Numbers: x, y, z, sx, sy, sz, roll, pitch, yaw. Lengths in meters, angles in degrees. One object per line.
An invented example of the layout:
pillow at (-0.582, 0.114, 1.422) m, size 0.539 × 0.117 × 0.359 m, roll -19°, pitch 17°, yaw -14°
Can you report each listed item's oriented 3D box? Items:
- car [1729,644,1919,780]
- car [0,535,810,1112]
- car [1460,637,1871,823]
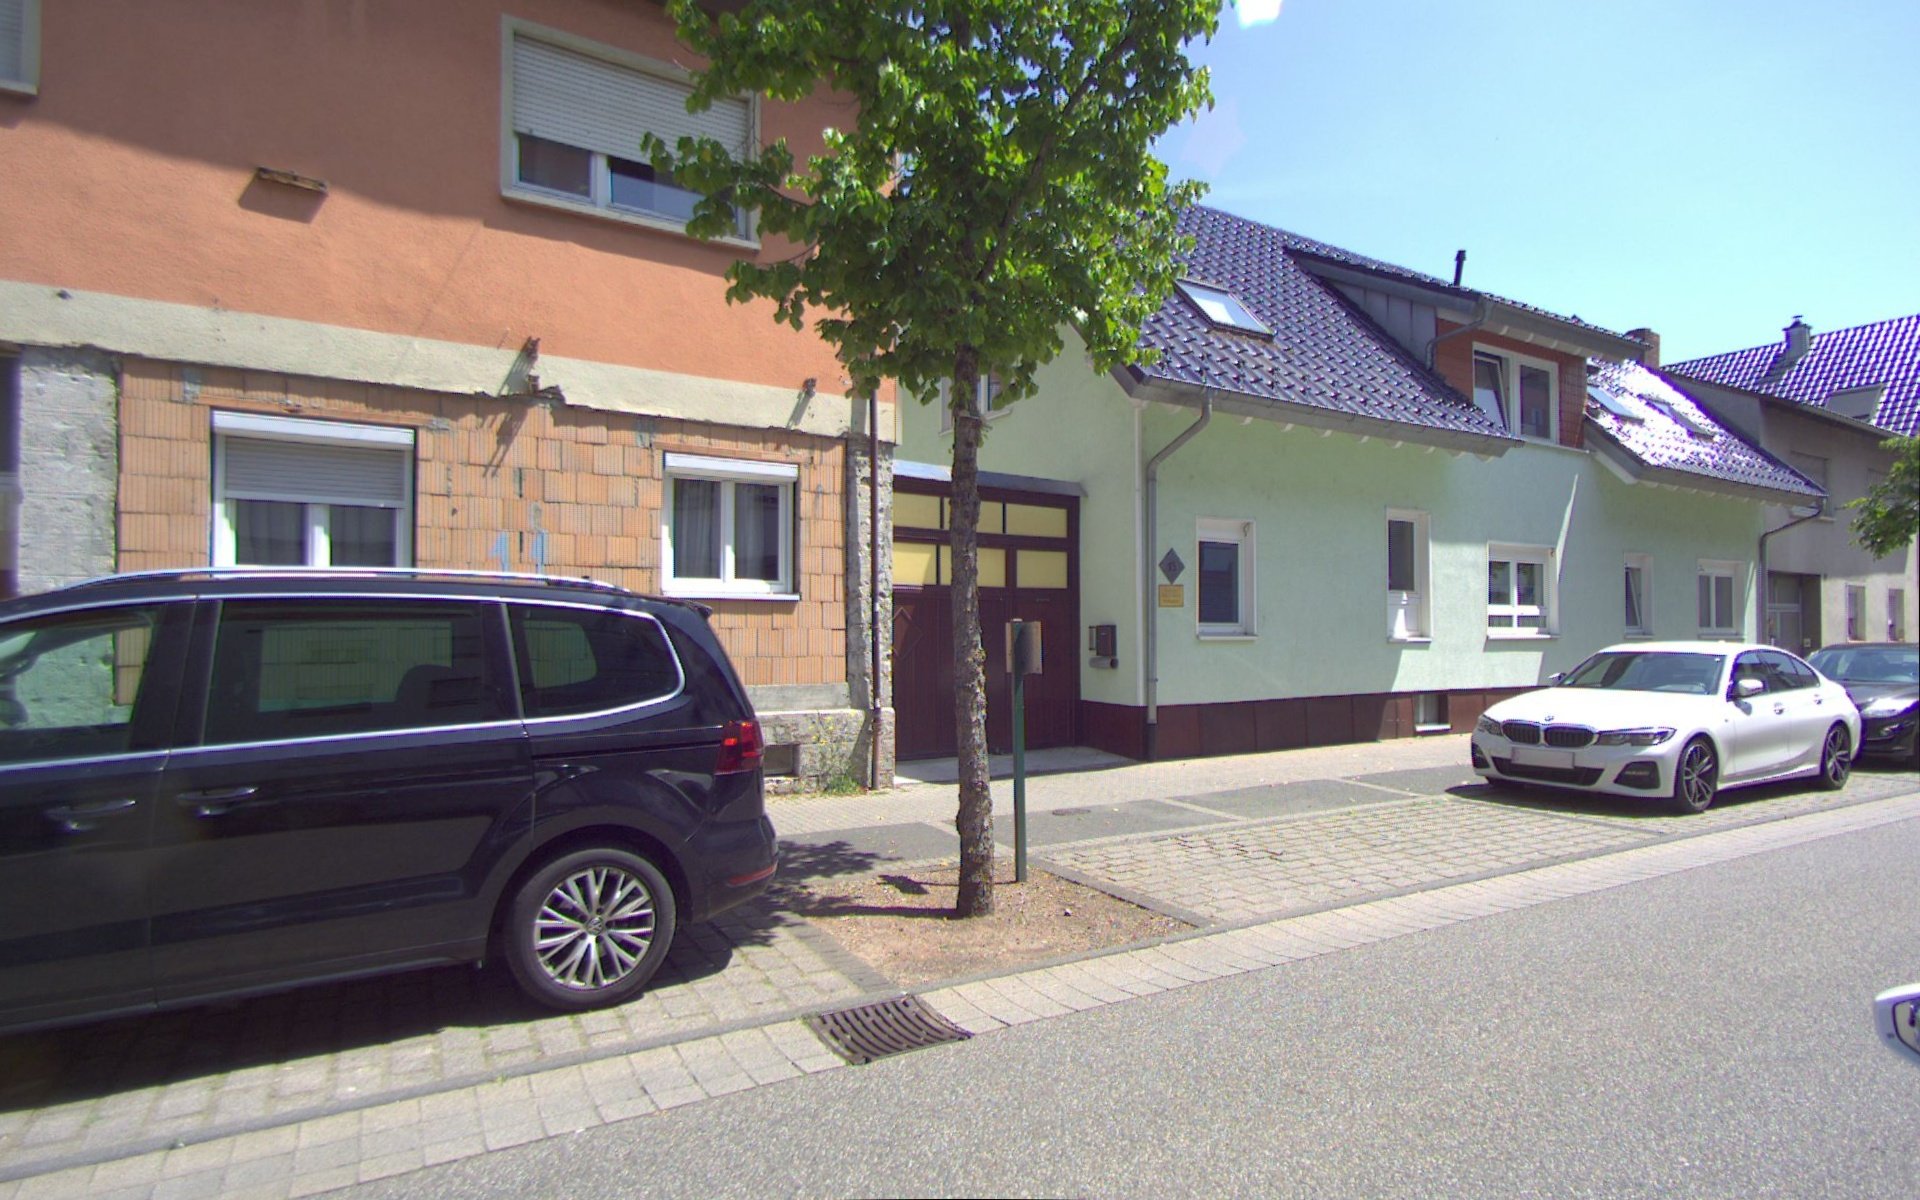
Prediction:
car at (11.803, 1.293, 12.749) m, size 4.484 × 1.455 × 1.653 m, roll 1°, pitch -2°, yaw -30°
car at (-3.018, 0.709, 4.029) m, size 4.468 × 1.749 × 1.766 m, roll 1°, pitch -2°, yaw -31°
car at (7.063, 1.118, 9.942) m, size 4.408 × 1.456 × 1.711 m, roll 1°, pitch -1°, yaw -31°
